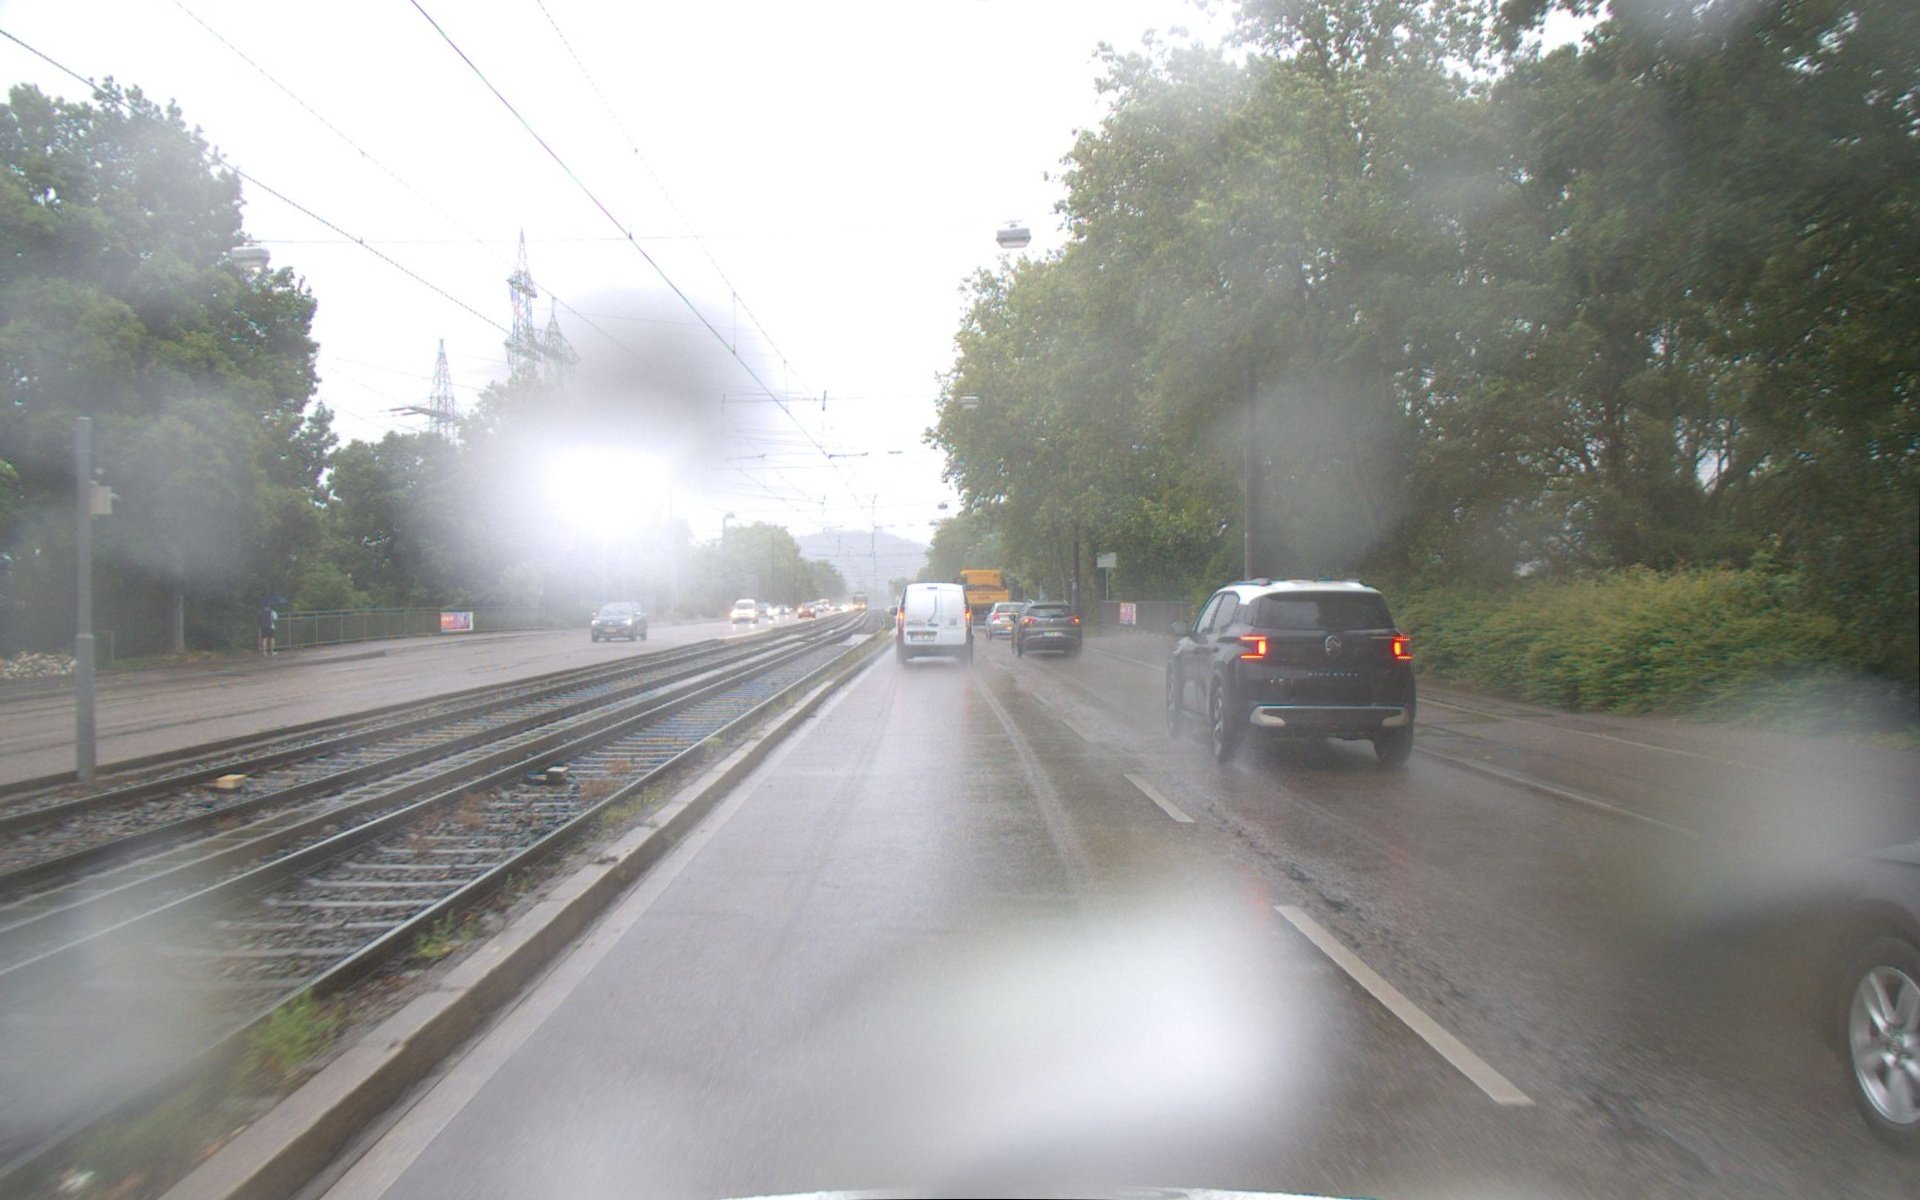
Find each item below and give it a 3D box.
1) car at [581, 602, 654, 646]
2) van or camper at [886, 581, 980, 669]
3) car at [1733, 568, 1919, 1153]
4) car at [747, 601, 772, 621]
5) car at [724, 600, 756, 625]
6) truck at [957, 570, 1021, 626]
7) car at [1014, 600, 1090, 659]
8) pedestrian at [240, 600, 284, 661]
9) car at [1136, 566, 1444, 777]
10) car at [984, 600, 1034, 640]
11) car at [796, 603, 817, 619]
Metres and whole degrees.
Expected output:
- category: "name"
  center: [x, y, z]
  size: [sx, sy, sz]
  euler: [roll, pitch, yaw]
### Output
- category: "car"
  center: [-13.670, 0.923, 66.230]
  size: [1.952, 1.646, 4.253]
  euler: [-1, 0, 0]
- category: "van or camper"
  center: [-0.673, 0.518, 37.823]
  size: [1.954, 1.815, 3.997]
  euler: [1, 1, -4]
- category: "car"
  center: [3.552, 0.716, 3.441]
  size: [1.928, 1.555, 3.990]
  euler: [0, 1, -2]
- category: "car"
  center: [-19.252, 1.025, 159.052]
  size: [1.953, 1.847, 4.000]
  euler: [-1, 0, 0]
- category: "car"
  center: [-16.973, 0.966, 127.750]
  size: [1.953, 1.847, 4.657]
  euler: [-1, 0, -2]
- category: "truck"
  center: [1.418, -0.129, 85.701]
  size: [3.050, 2.821, 6.327]
  euler: [0, 0, -2]
- category: "car"
  center: [2.429, 0.760, 44.272]
  size: [1.781, 1.438, 3.778]
  euler: [1, 1, -1]
- category: "pedestrian"
  center: [-21.083, 0.918, 50.000]
  size: [0.834, 1.790, 1.120]
  euler: [-1, 0, -1]
- category: "car"
  center: [3.004, 0.561, 16.137]
  size: [1.861, 1.747, 4.723]
  euler: [0, 1, -3]
- category: "car"
  center: [1.876, 0.756, 63.907]
  size: [1.781, 1.438, 3.778]
  euler: [1, 1, -1]
- category: "car"
  center: [-15.155, 1.084, 163.206]
  size: [1.623, 1.512, 4.013]
  euler: [-1, 0, 0]
